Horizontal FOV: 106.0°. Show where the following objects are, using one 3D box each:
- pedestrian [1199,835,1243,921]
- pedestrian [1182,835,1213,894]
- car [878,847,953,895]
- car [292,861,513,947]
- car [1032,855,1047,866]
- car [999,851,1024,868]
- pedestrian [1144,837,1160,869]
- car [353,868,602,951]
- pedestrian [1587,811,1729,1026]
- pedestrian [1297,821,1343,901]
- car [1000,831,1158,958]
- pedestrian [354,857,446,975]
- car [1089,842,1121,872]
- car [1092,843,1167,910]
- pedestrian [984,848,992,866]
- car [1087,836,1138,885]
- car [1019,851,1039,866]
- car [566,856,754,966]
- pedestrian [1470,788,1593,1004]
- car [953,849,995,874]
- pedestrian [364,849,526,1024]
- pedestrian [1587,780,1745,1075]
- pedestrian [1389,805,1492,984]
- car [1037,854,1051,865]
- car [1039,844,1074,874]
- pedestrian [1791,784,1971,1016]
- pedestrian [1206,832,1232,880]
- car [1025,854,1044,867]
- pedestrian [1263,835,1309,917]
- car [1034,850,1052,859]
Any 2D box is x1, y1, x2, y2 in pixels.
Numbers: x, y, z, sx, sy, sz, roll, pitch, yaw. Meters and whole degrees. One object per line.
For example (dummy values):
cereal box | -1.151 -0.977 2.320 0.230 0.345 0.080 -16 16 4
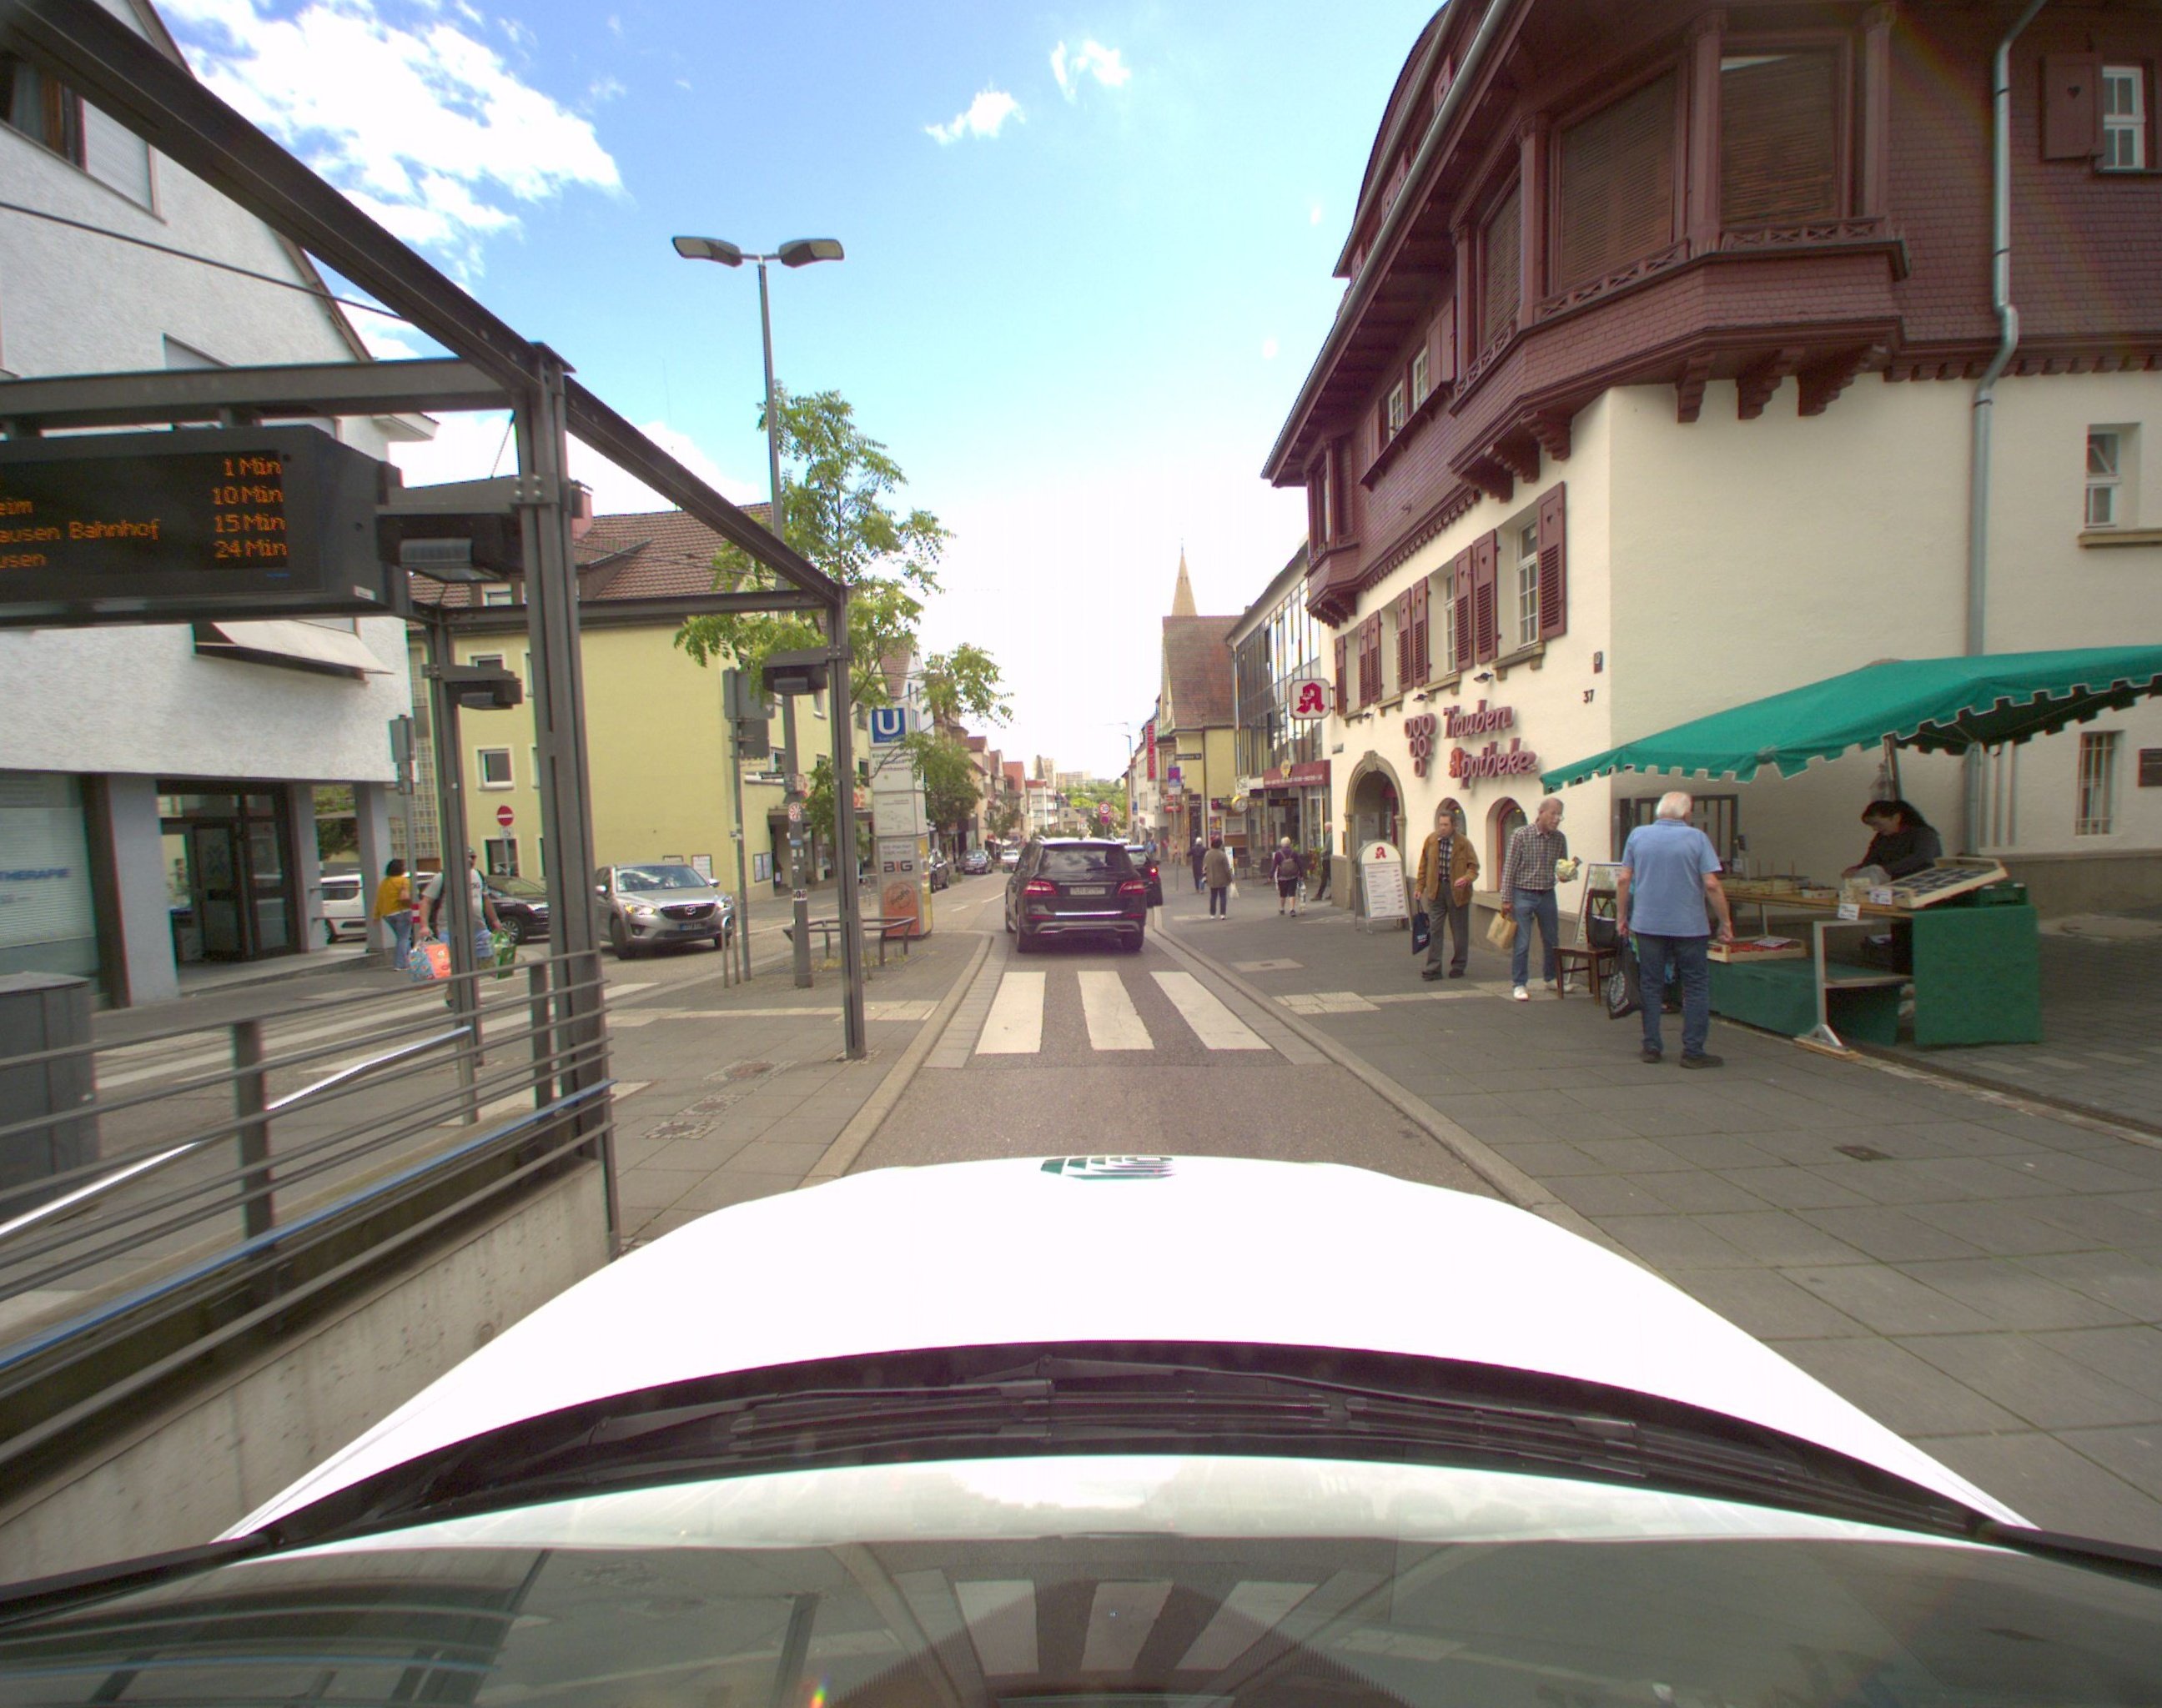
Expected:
pedestrian | 2.790 0.466 16.359 0.768 1.645 0.872 -2 0 7
pedestrian | 3.434 0.300 23.989 0.819 1.665 0.804 -2 0 10
car | -6.504 0.624 32.602 2.000 1.693 4.608 -1 1 0
car | -18.487 1.326 22.317 4.318 1.805 2.004 -5 3 5
car | -5.602 0.840 111.171 1.921 1.496 4.259 0 1 -2
car | -6.153 0.460 72.595 1.920 1.511 4.261 0 1 0
pedestrian | 4.031 -0.050 46.258 0.793 1.727 1.053 -3 0 1
car | -13.678 1.236 18.613 4.336 1.569 1.919 -3 0 6
pedestrian | 4.594 0.490 6.532 0.620 1.612 0.704 -2 0 6
pedestrian | 5.478 0.159 18.707 0.771 1.769 0.818 -2 0 2
car | -0.215 0.550 13.568 1.944 1.740 4.164 -1 0 -10
pedestrian | -10.675 0.939 12.792 0.635 1.738 0.835 -4 0 -2
car | 1.451 0.143 49.135 1.742 1.607 3.802 -4 0 2
car | 1.247 0.534 22.111 1.797 1.555 3.955 -3 1 1
pedestrian | -7.556 0.269 66.321 0.488 1.463 0.560 0 0 10
car | 1.373 0.219 33.571 1.868 1.799 4.738 -2 1 4
car | -5.711 0.470 89.859 1.920 1.621 4.638 -1 0 0
car | -7.839 0.952 14.952 1.981 1.621 4.302 -3 0 -42
pedestrian | 4.161 0.360 7.523 0.771 1.857 0.707 -2 0 43
car | -6.489 0.421 49.915 1.920 1.492 4.842 0 1 0
pedestrian | -6.978 0.866 8.977 0.909 1.787 0.992 -2 0 17
pedestrian | 3.777 0.445 5.316 0.694 1.766 0.629 -2 0 26
pedestrian | 3.793 0.413 8.642 0.782 1.801 0.677 -2 0 7
car | -5.345 0.775 118.560 1.922 1.595 4.454 0 1 -2
car | -1.370 0.257 46.487 1.779 1.540 3.745 -2 1 1
pedestrian | 5.931 0.322 6.079 0.620 1.612 0.704 -2 0 6
pedestrian | 5.078 0.058 30.056 0.859 1.707 0.947 -2 0 7
car | -5.565 0.785 97.628 1.919 1.430 4.264 -1 0 2
pedestrian | 3.941 0.411 15.716 0.720 1.531 0.809 -2 0 7
car | -8.619 0.210 186.329 3.978 1.750 1.998 -4 0 -3
